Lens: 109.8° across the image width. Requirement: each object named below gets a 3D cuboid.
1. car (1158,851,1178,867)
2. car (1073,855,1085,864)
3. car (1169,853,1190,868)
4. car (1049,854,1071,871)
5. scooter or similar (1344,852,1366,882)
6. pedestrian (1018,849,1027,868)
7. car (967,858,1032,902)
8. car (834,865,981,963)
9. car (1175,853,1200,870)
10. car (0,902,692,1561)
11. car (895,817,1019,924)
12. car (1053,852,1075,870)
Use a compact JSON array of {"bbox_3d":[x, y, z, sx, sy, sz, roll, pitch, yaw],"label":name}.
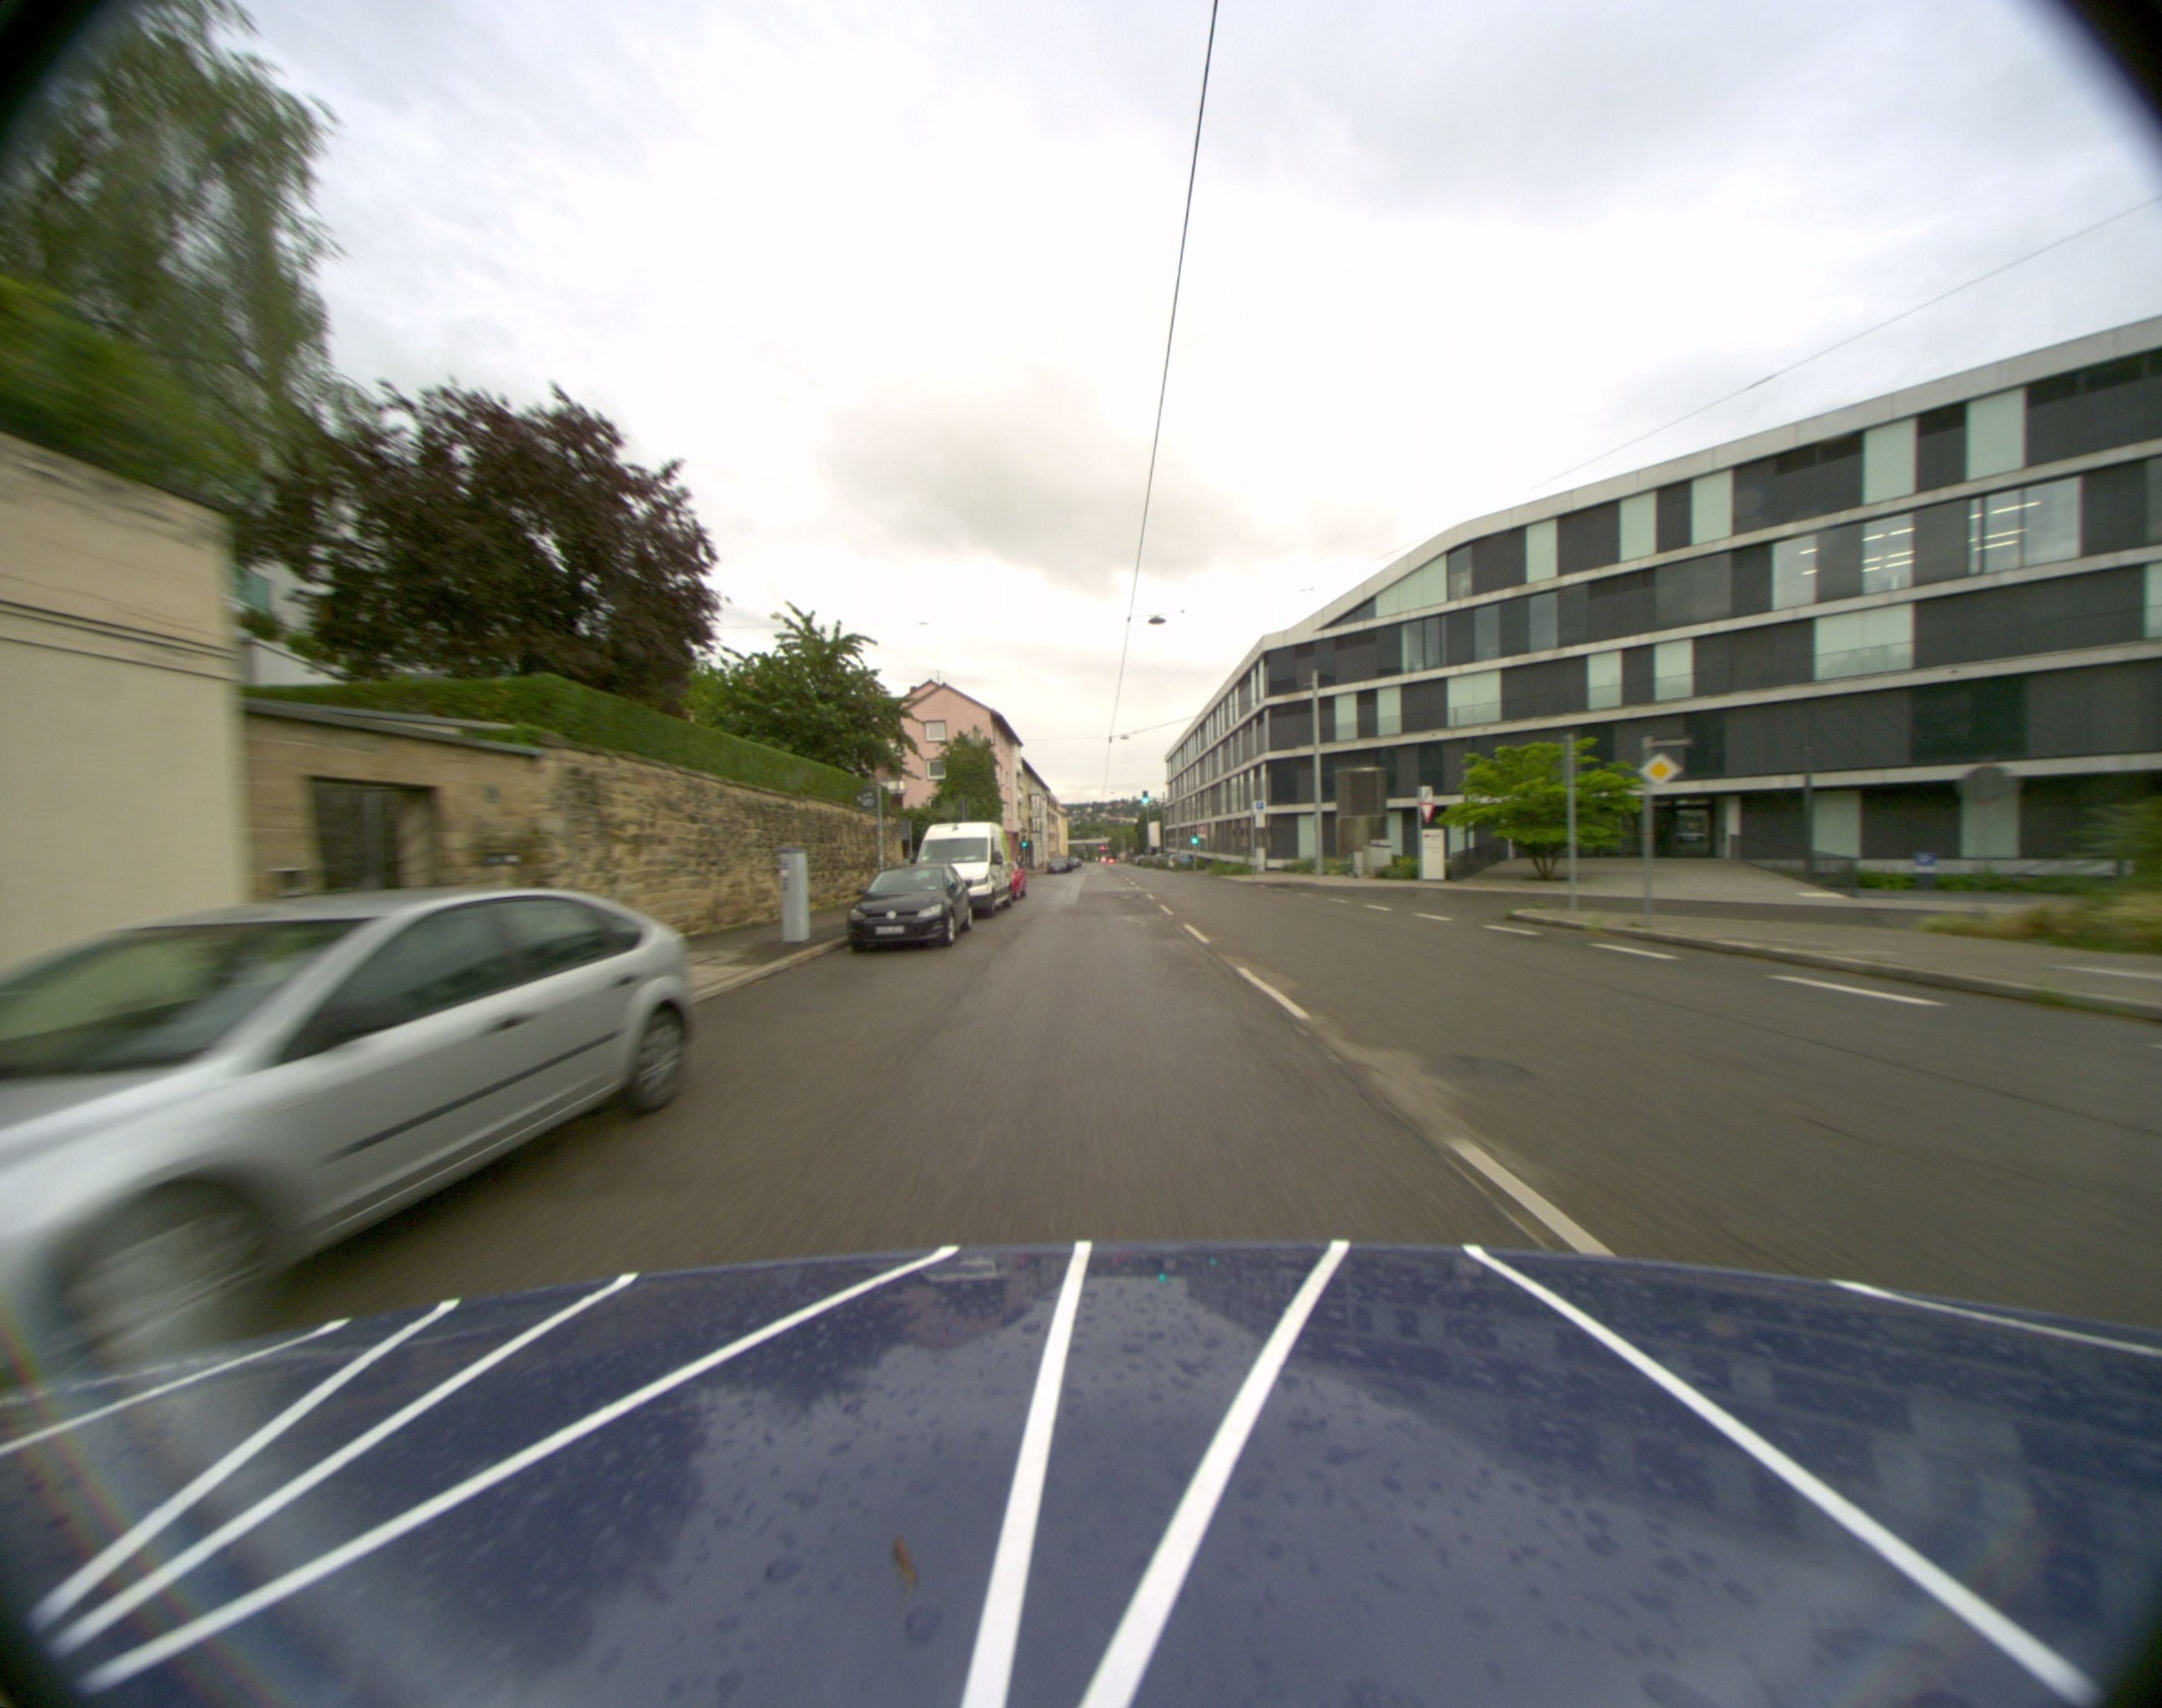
[{"bbox_3d":[9.636,0.562,84.791,1.886,1.580,4.364,-3,0,3],"label":"car"},{"bbox_3d":[-0.283,0.859,120.037,1.630,1.402,3.778,-2,0,2],"label":"car"},{"bbox_3d":[9.595,0.624,74.198,1.641,1.458,3.584,-1,0,2],"label":"car"},{"bbox_3d":[-1.980,0.774,71.277,1.796,1.511,4.513,-1,0,1],"label":"car"},{"bbox_3d":[11.837,0.544,32.829,0.497,1.241,1.231,-2,1,2],"label":"scooter or similar"},{"bbox_3d":[-5.485,0.399,70.932,0.715,1.763,0.748,1,0,1],"label":"pedestrian"},{"bbox_3d":[-2.915,0.903,27.976,1.725,1.413,4.203,-3,0,2],"label":"car"},{"bbox_3d":[-3.089,0.996,14.421,1.693,1.445,4.235,-3,0,1],"label":"car"},{"bbox_3d":[9.657,0.648,69.089,1.641,1.458,3.583,-1,0,0],"label":"car"},{"bbox_3d":[-3.584,1.095,3.112,1.693,1.445,4.235,-3,0,1],"label":"car"},{"bbox_3d":[-3.227,0.397,21.294,2.211,2.449,6.080,-3,0,1],"label":"car"},{"bbox_3d":[-1.707,0.683,76.676,1.968,1.763,4.513,-1,0,1],"label":"car"}]
